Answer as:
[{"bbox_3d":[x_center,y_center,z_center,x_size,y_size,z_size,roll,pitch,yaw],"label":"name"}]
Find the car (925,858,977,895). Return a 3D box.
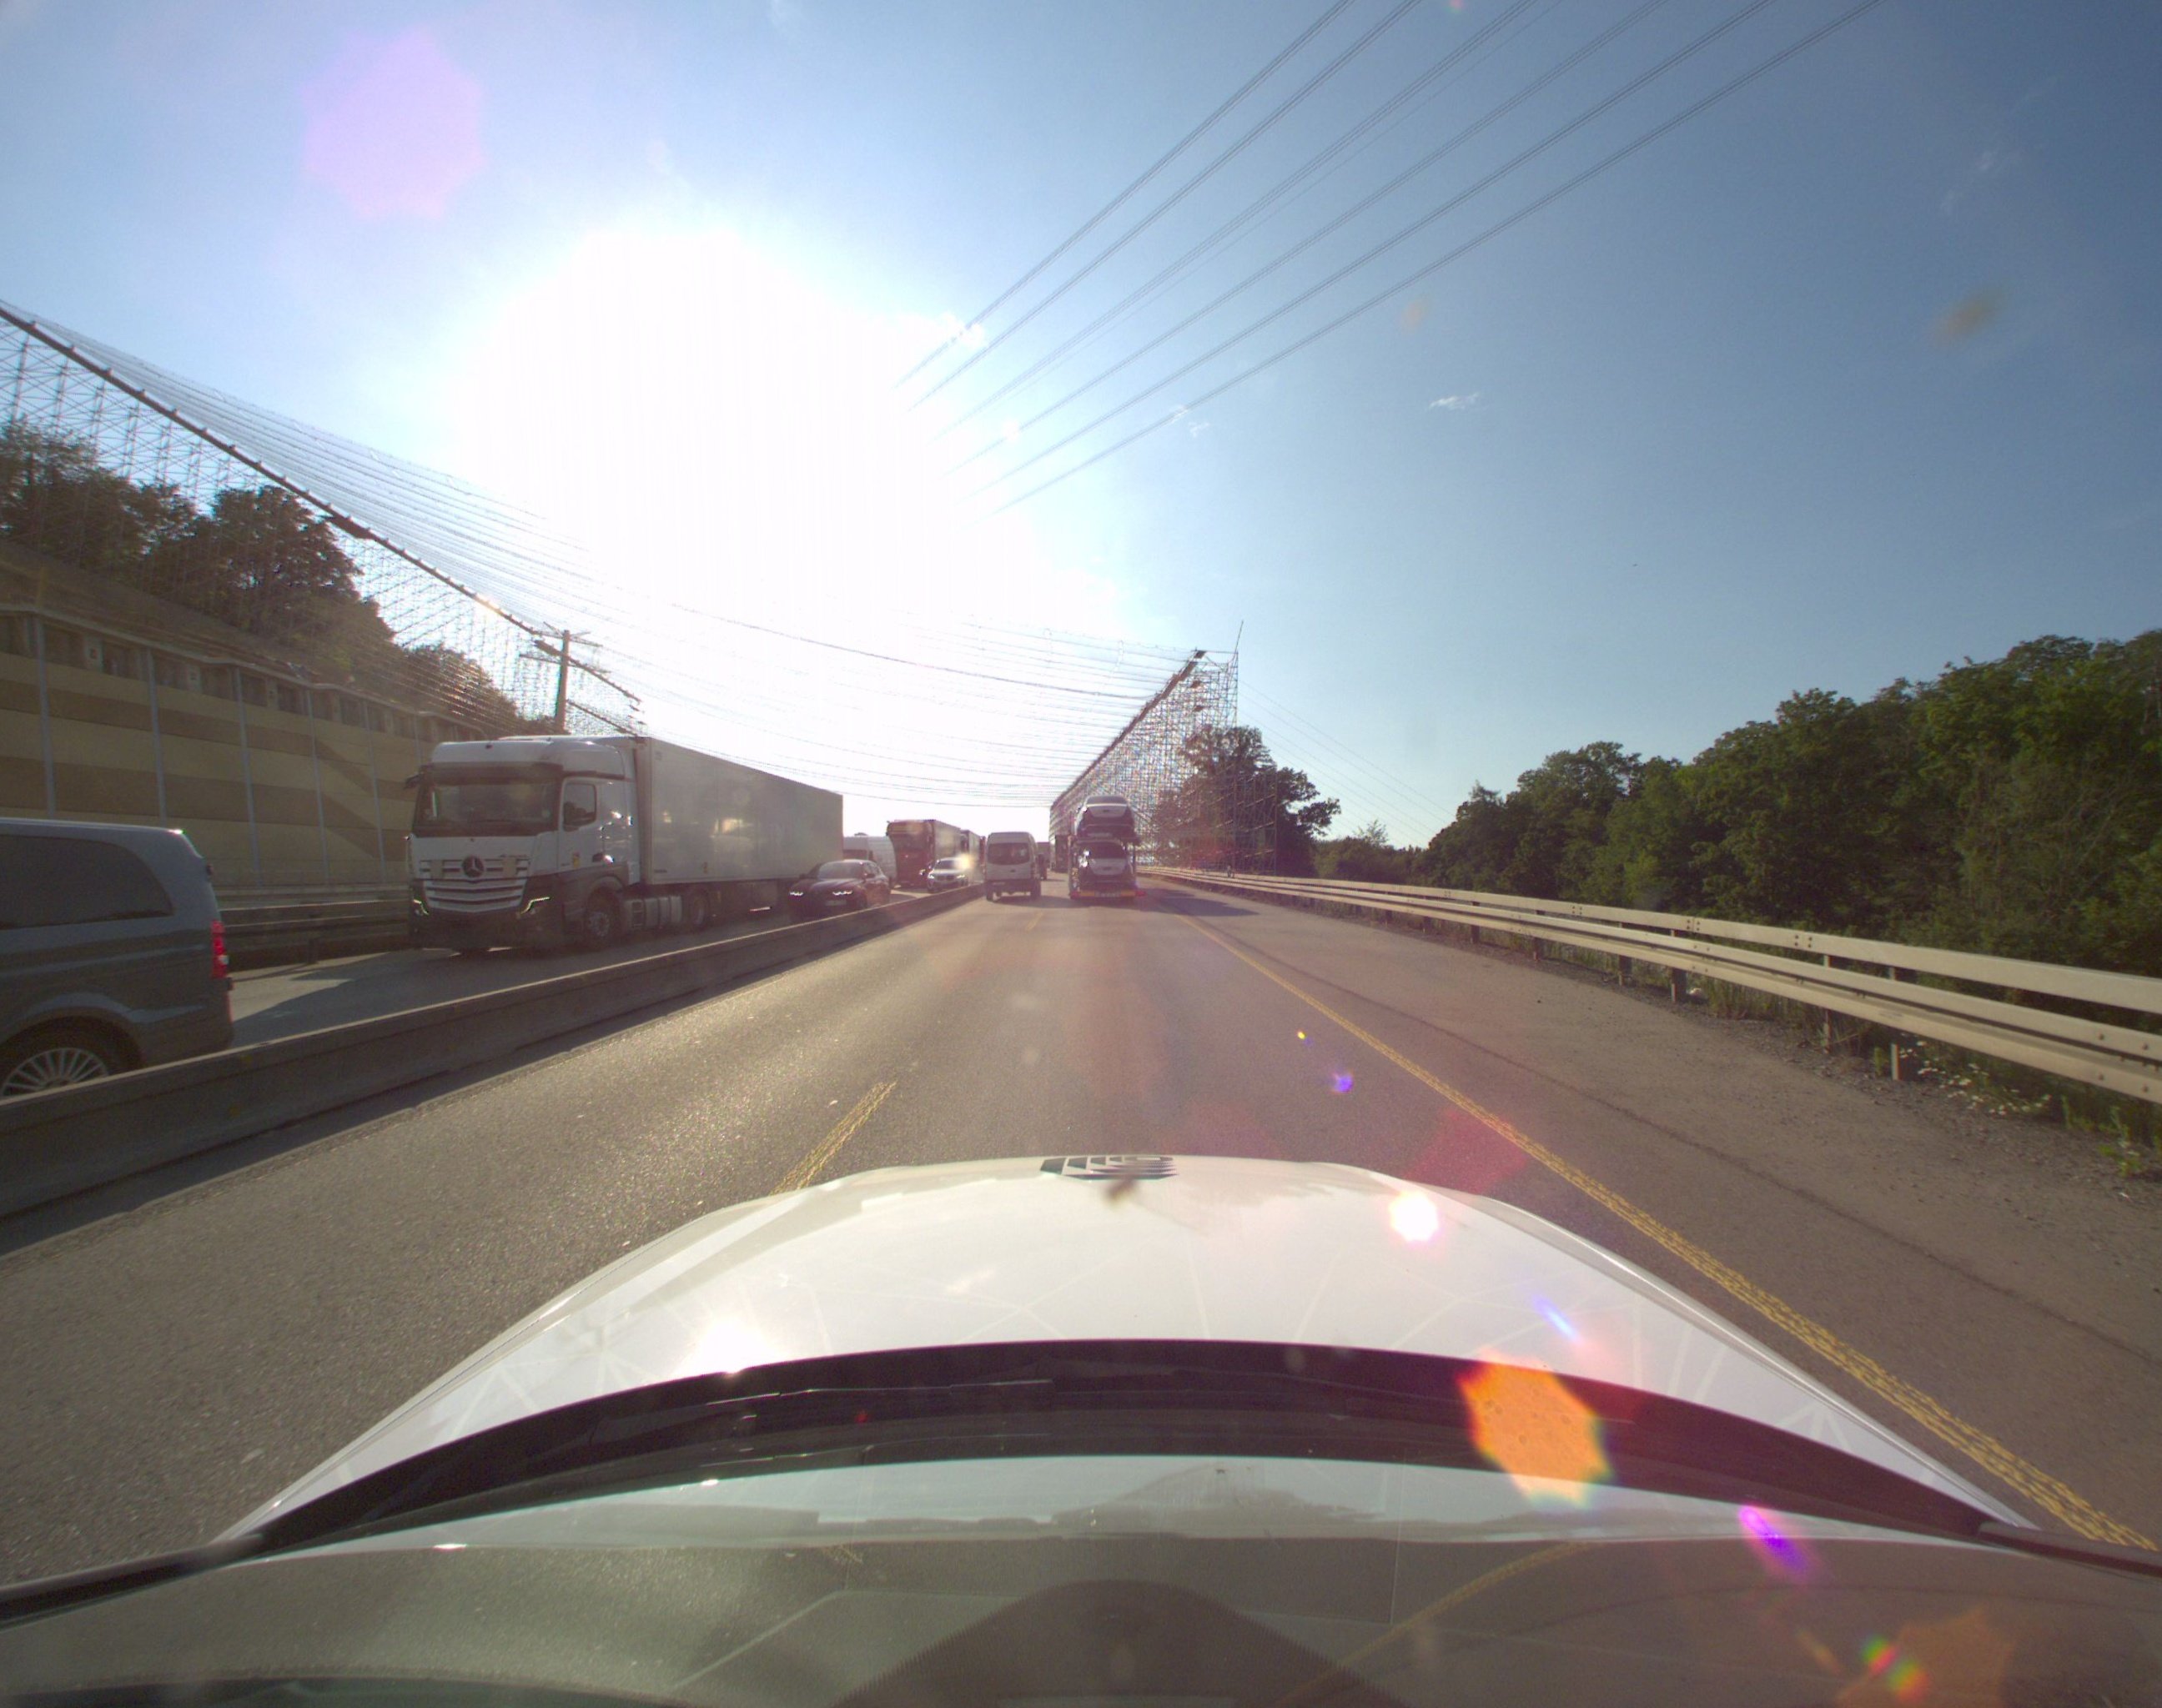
[{"bbox_3d":[-6.395,1.069,40.516,1.864,1.588,4.800,1,1,-2],"label":"car"}]

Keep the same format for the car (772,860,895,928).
[{"bbox_3d":[-6.471,0.980,21.862,1.881,1.568,4.456,0,0,1],"label":"car"}]

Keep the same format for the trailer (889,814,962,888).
[{"bbox_3d":[-10.160,-0.100,54.797,2.759,4.334,13.867,-1,-1,-2],"label":"trailer"}]

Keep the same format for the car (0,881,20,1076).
[{"bbox_3d":[-9.015,0.930,3.869,1.737,1.460,4.713,-1,-1,0],"label":"car"}]

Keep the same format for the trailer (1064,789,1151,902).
[{"bbox_3d":[0.758,-0.208,34.487,2.860,3.725,14.939,-1,-1,-1],"label":"trailer"}]

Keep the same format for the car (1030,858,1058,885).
[{"bbox_3d":[-2.851,1.315,61.749,1.990,2.014,3.993,0,-1,-5],"label":"car"}]

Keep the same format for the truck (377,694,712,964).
[{"bbox_3d":[-9.729,-0.380,15.658,2.705,4.218,5.680,-1,-1,-1],"label":"truck"}]

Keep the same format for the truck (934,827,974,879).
[{"bbox_3d":[-10.725,-0.044,69.260,2.781,4.141,5.926,-1,-1,-4],"label":"truck"}]

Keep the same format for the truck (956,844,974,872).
[{"bbox_3d":[-18.188,0.579,127.372,2.661,4.230,6.085,-1,0,-9],"label":"truck"}]

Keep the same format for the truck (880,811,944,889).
[{"bbox_3d":[-9.899,-0.184,48.345,2.738,4.300,5.928,-1,-1,-2],"label":"truck"}]

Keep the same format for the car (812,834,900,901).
[{"bbox_3d":[-9.822,0.496,36.254,2.015,2.690,6.948,0,0,0],"label":"car"}]

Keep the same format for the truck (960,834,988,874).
[{"bbox_3d":[-11.580,0.026,88.530,2.784,4.141,6.663,-1,-1,-7],"label":"truck"}]

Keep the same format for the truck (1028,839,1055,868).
[{"bbox_3d":[-6.300,-0.035,132.389,3.677,4.220,13.660,-4,0,-1],"label":"truck"}]

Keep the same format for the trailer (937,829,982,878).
[{"bbox_3d":[-11.097,0.034,75.793,2.793,4.141,13.948,-1,-1,-3],"label":"trailer"}]

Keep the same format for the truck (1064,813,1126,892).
[{"bbox_3d":[0.641,-0.049,42.171,2.873,3.702,7.322,-1,-1,0],"label":"truck"}]

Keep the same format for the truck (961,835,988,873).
[{"bbox_3d":[-12.296,0.094,95.071,2.784,4.141,13.775,-1,-1,-6],"label":"truck"}]

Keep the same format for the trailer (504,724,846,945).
[{"bbox_3d":[-9.804,-0.310,22.566,2.713,4.218,13.743,-1,-1,-1],"label":"trailer"}]

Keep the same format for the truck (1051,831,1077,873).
[{"bbox_3d":[-1.963,-0.198,91.372,2.725,4.385,11.511,0,0,-2],"label":"truck"}]

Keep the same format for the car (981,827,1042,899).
[{"bbox_3d":[-2.681,0.354,32.346,1.950,2.621,4.000,-2,-1,1],"label":"car"}]

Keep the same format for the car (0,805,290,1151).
[{"bbox_3d":[-6.467,0.661,2.939,1.798,1.772,5.454,-1,1,1],"label":"car"}]
